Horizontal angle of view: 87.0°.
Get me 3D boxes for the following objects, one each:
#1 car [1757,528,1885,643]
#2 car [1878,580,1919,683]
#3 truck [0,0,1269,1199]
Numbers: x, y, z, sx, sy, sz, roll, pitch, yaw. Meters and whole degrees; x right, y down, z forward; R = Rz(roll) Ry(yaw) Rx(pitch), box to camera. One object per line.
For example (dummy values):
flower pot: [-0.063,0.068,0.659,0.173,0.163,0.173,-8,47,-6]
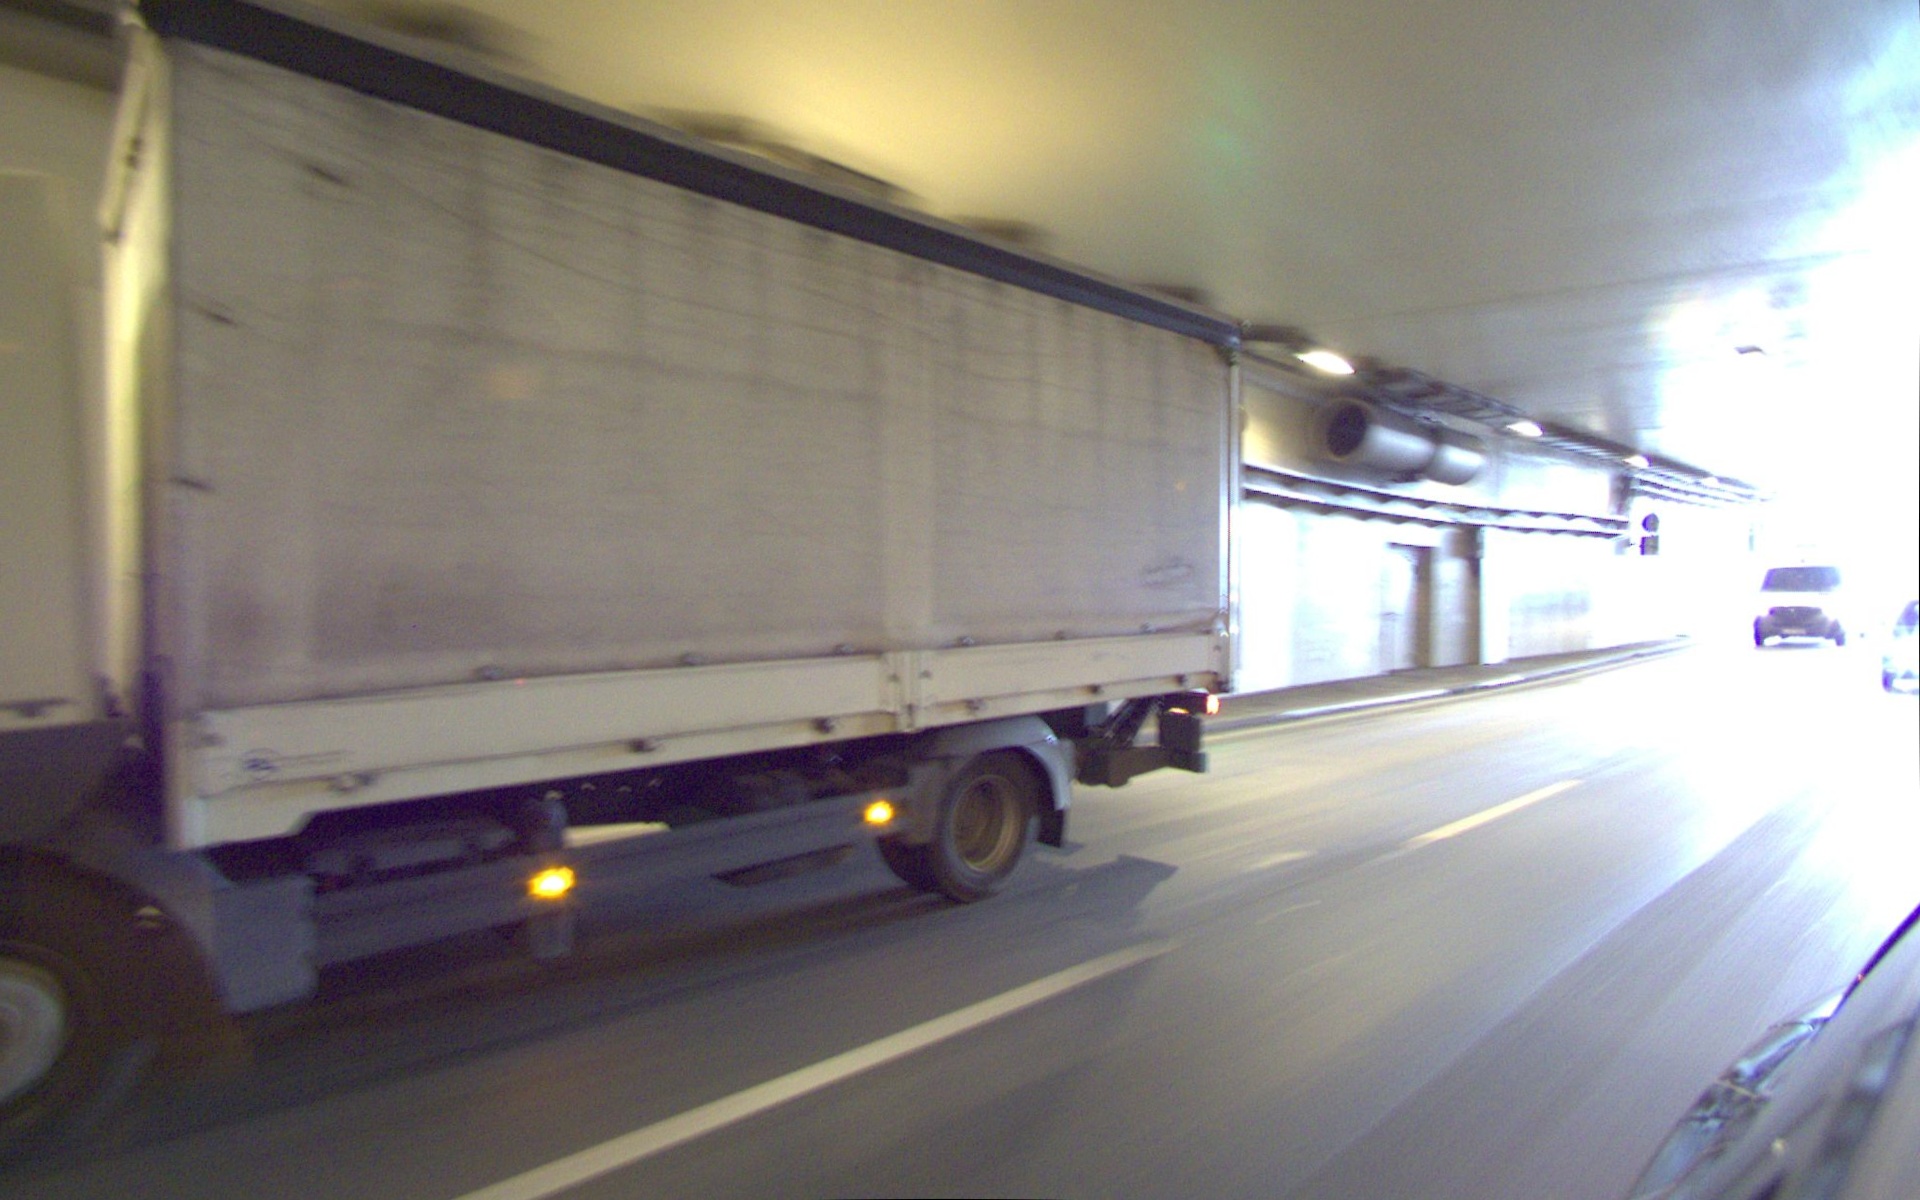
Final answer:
car: [24.323,-0.467,28.463,6.748,2.882,2.103,-2,2,-44]
car: [16.552,0.462,16.696,3.651,1.581,1.638,-1,0,-41]
truck: [-1.493,-0.212,4.781,7.125,3.221,2.555,0,0,-44]
